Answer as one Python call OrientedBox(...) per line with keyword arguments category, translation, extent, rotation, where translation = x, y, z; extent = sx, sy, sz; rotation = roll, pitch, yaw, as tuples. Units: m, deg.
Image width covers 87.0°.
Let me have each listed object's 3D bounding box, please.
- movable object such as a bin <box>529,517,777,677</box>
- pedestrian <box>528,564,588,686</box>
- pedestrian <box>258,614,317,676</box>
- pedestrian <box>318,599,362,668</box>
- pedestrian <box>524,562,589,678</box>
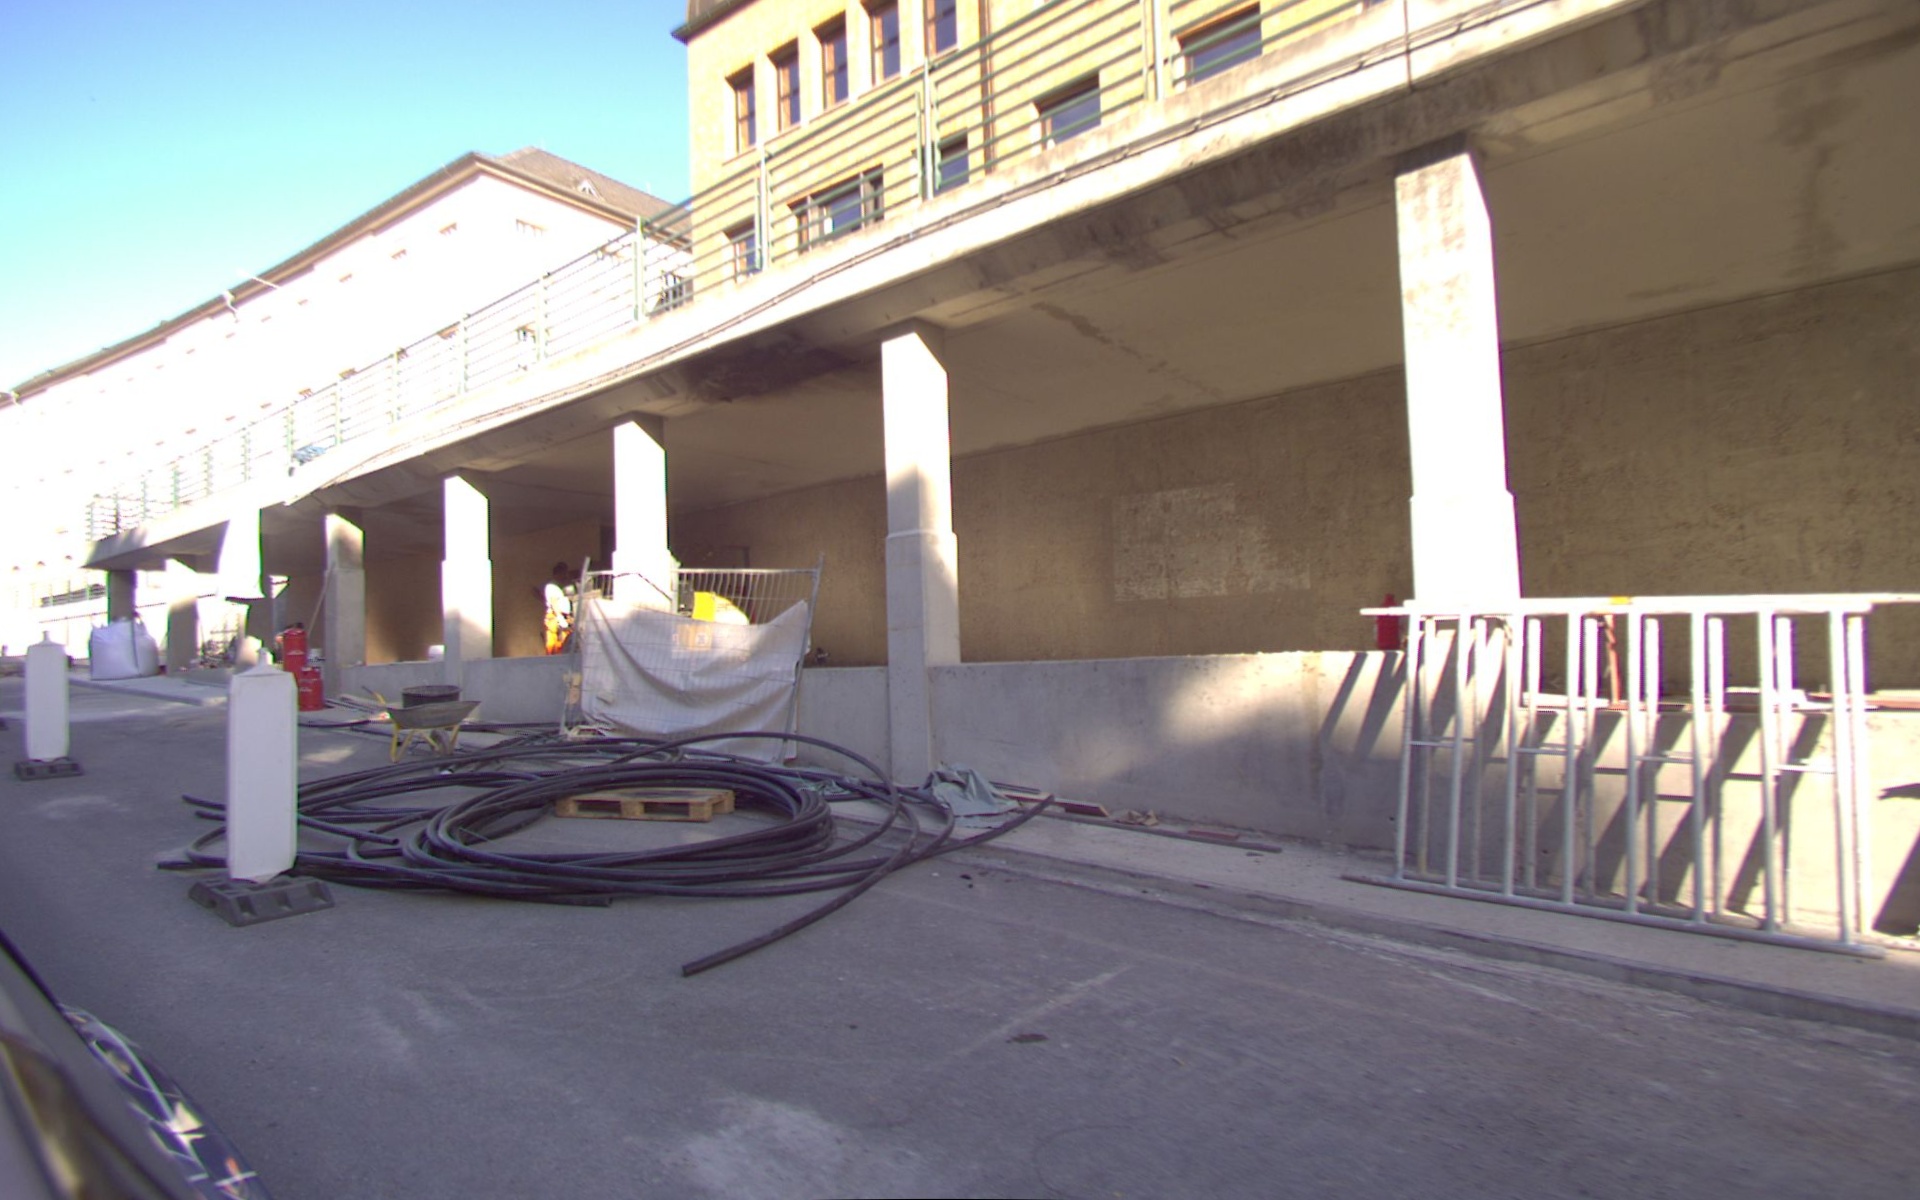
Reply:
OrientedBox(category="movable object such as a bin", translation=(-4.385, 0.007, 14.368), extent=(3.153, 2.002, 1.868), rotation=(-2, -1, 36))
OrientedBox(category="pedestrian", translation=(-6.186, 0.376, 15.573), extent=(0.649, 1.818, 0.625), rotation=(0, -1, -44))
OrientedBox(category="pedestrian", translation=(-15.567, 1.032, 23.430), extent=(0.780, 1.409, 0.865), rotation=(-1, -2, 29))
OrientedBox(category="pedestrian", translation=(-14.655, 0.786, 23.922), extent=(0.628, 1.592, 0.645), rotation=(-1, -2, 28))
OrientedBox(category="pedestrian", translation=(-6.535, 0.313, 16.411), extent=(0.708, 1.828, 0.698), rotation=(-1, -1, 36))
